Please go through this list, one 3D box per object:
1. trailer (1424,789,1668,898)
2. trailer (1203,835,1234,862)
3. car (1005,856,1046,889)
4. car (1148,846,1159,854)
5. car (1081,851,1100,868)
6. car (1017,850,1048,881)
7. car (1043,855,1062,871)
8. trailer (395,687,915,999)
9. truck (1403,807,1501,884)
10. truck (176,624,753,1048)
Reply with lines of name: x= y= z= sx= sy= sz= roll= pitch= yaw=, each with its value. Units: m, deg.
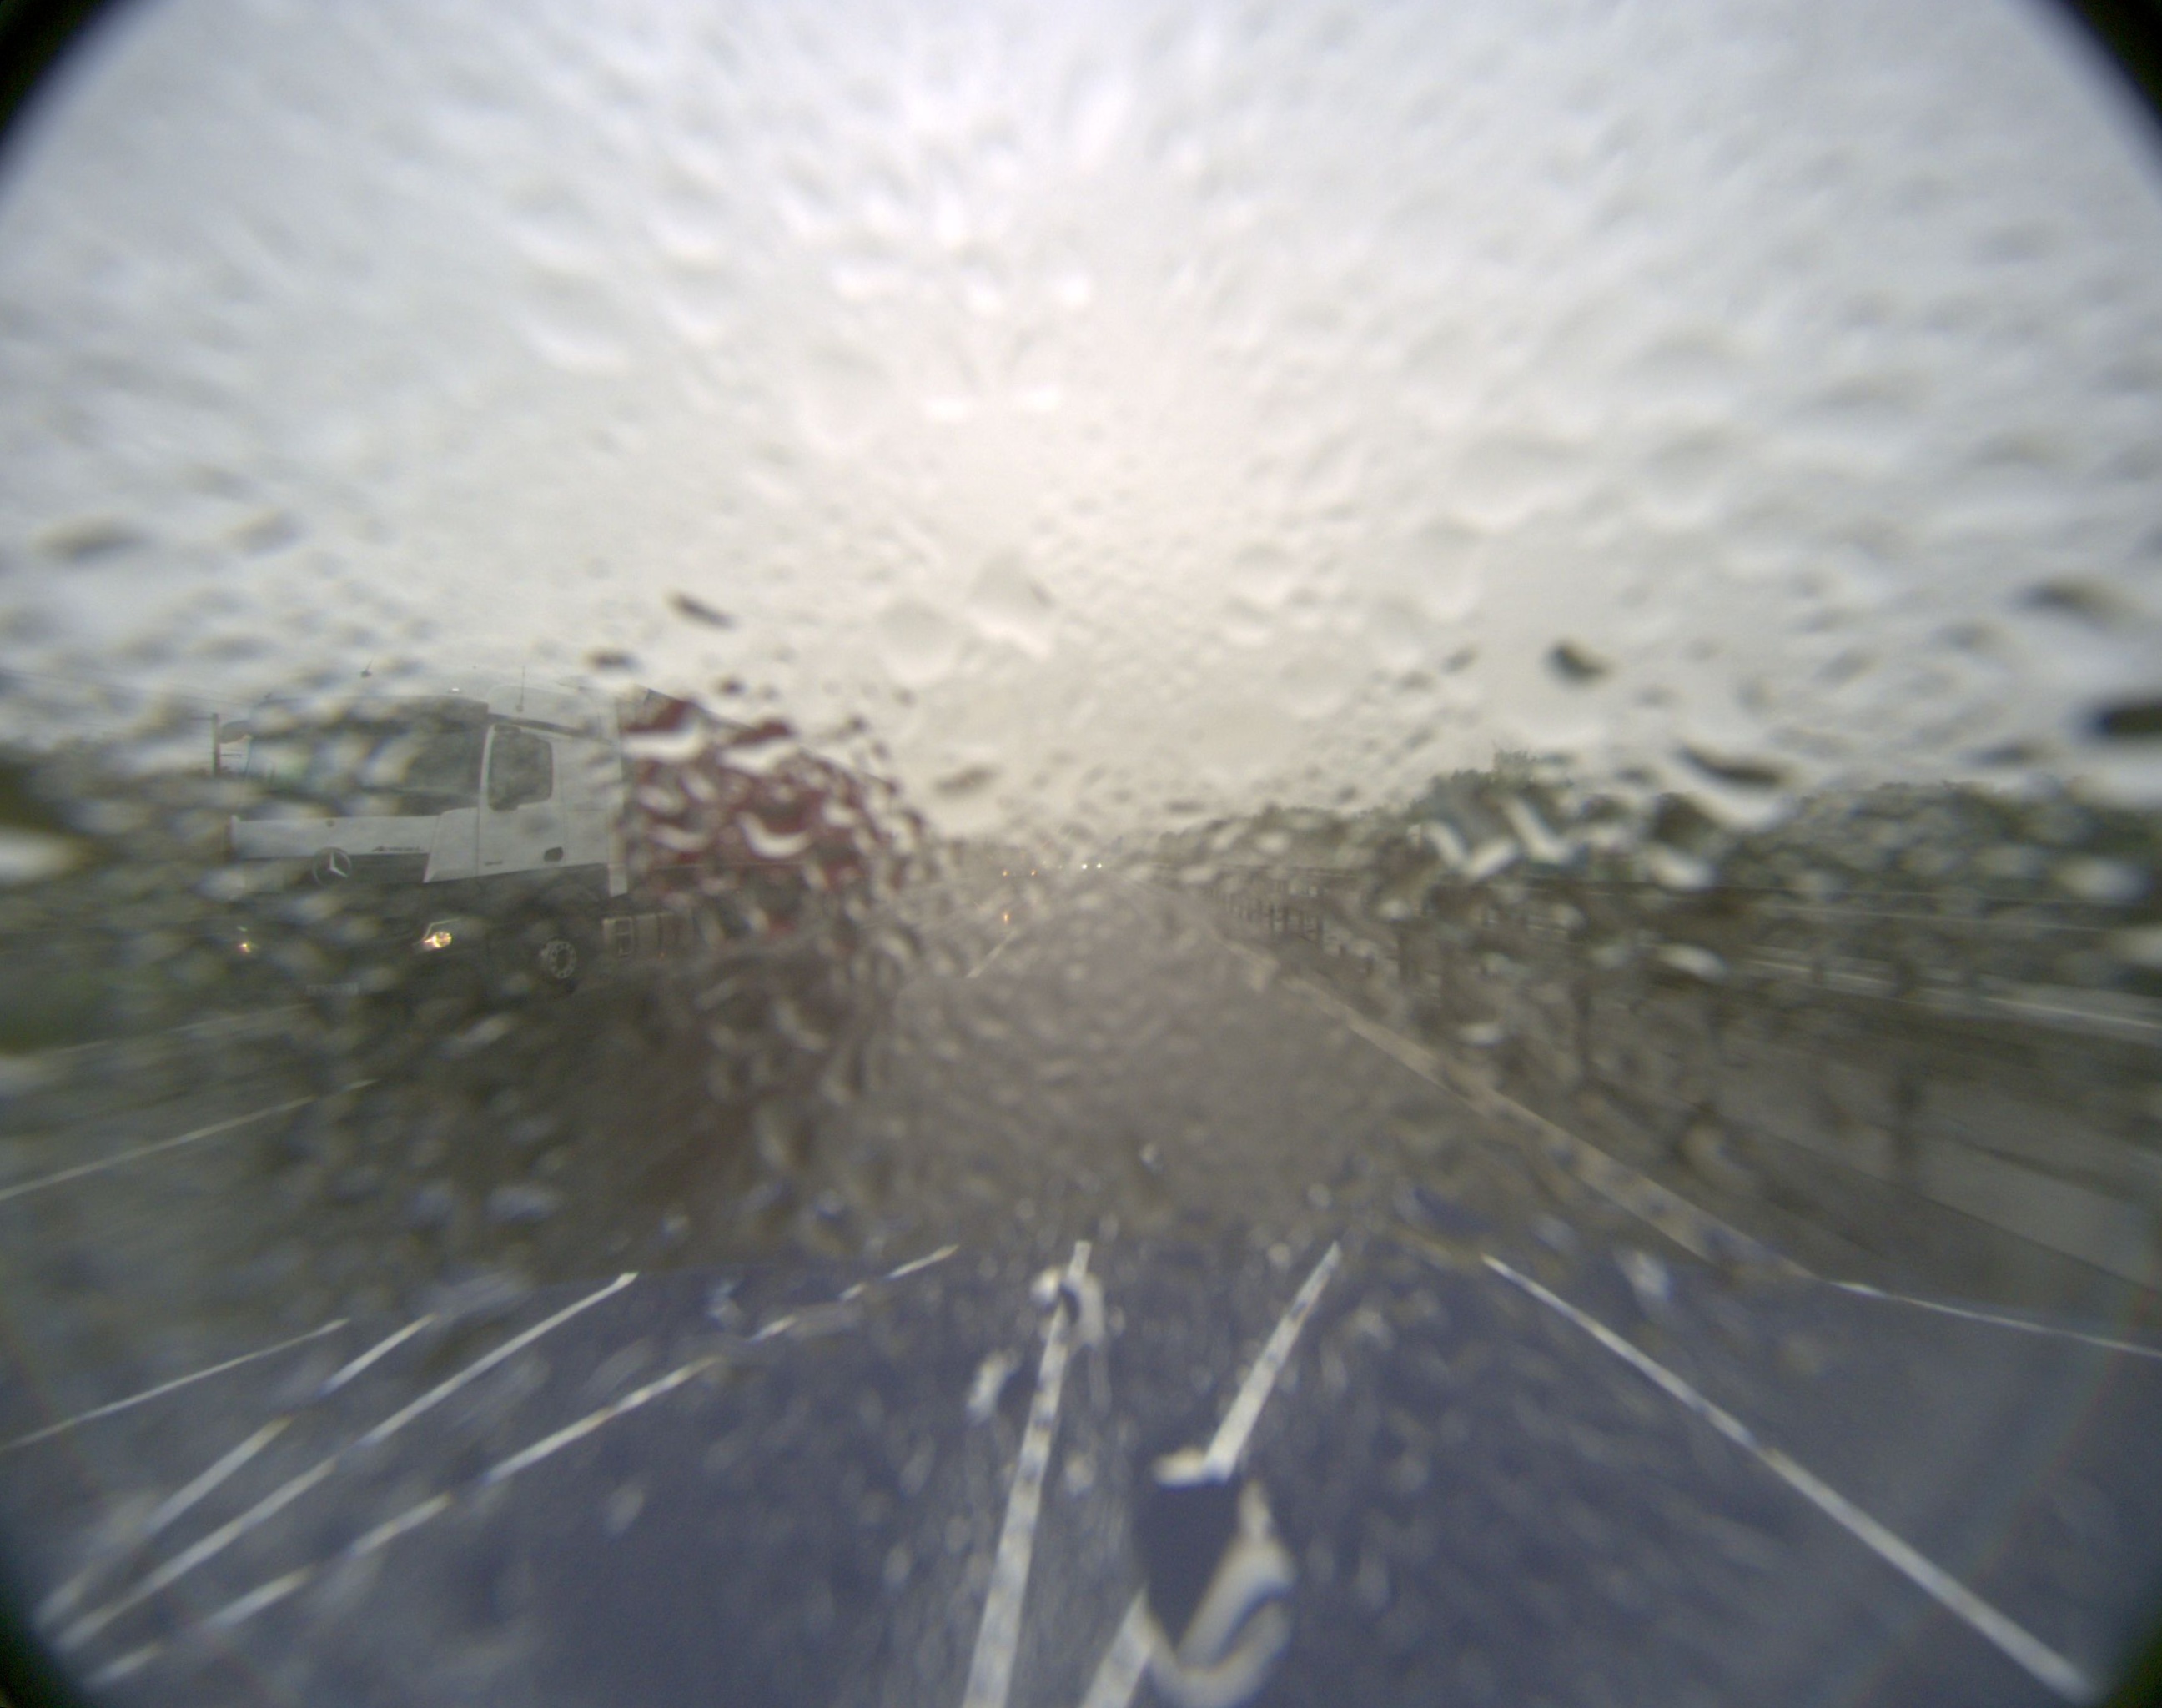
trailer: x=19.599 y=-0.409 z=33.793 sx=2.640 sy=3.782 sz=13.584 roll=-2 pitch=0 yaw=1
trailer: x=20.700 y=-0.815 z=115.172 sx=2.301 sy=3.782 sz=13.611 roll=-2 pitch=0 yaw=1
car: x=-2.688 y=0.864 z=37.408 sx=1.663 sy=1.491 sz=3.836 roll=-2 pitch=0 yaw=1
car: x=23.490 y=-1.204 z=245.078 sx=3.077 sy=2.375 sz=5.836 roll=-2 pitch=0 yaw=1
car: x=0.963 y=0.572 z=78.010 sx=1.845 sy=1.671 sz=4.000 roll=-2 pitch=0 yaw=0
car: x=-2.721 y=0.631 z=42.864 sx=1.517 sy=1.607 sz=3.186 roll=-2 pitch=0 yaw=0
car: x=-3.134 y=0.996 z=83.884 sx=1.845 sy=1.671 sz=4.000 roll=-2 pitch=0 yaw=0
trailer: x=-7.014 y=-0.174 z=17.578 sx=2.486 sy=3.744 sz=16.543 roll=-2 pitch=0 yaw=0
truck: x=19.723 y=-0.438 z=40.766 sx=2.629 sy=3.783 sz=5.400 roll=-2 pitch=1 yaw=1
truck: x=-7.077 y=-0.174 z=10.181 sx=2.457 sy=3.867 sz=6.198 roll=-2 pitch=0 yaw=1
